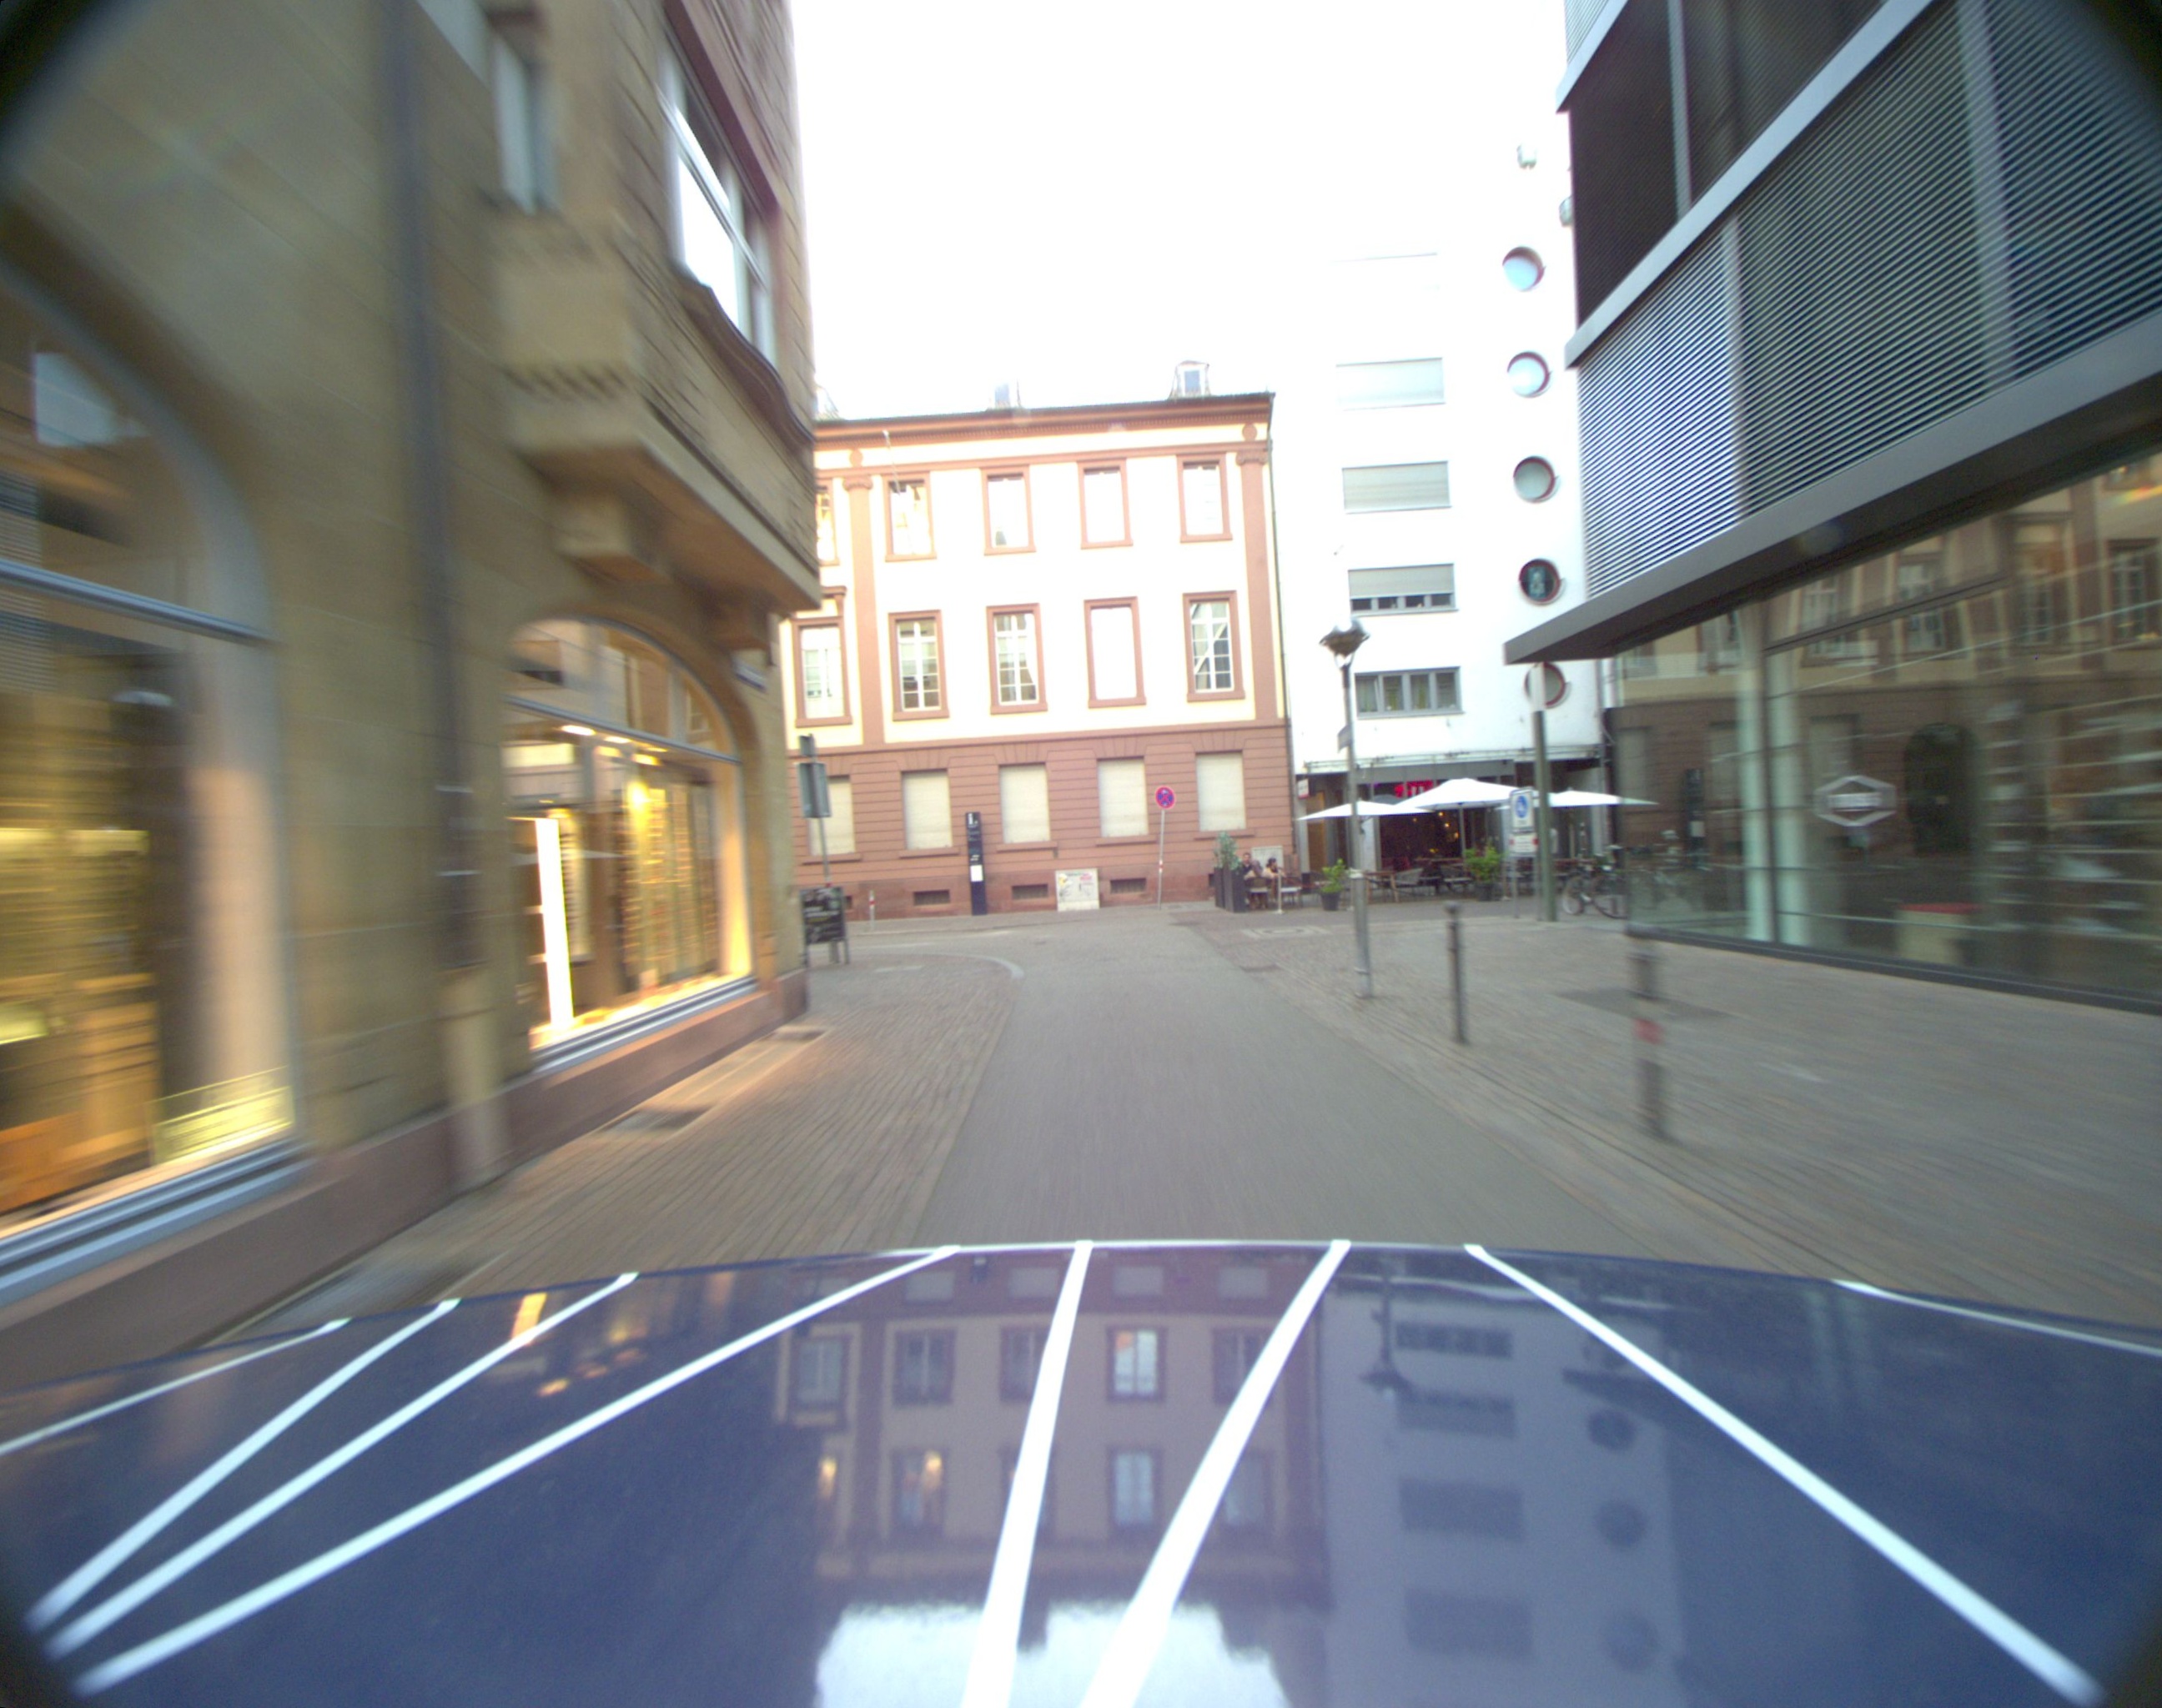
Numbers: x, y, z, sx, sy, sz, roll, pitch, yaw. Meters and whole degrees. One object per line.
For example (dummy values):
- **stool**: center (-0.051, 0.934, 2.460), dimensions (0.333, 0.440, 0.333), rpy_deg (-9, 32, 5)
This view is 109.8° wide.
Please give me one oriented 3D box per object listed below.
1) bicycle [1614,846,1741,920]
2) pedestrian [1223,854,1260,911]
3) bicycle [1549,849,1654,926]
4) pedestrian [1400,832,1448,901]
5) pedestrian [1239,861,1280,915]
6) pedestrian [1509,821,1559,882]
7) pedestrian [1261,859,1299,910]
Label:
- **bicycle**: center (9.950, 0.482, 12.784), dimensions (0.466, 1.114, 2.016), rpy_deg (-4, -2, 0)
- **pedestrian**: center (4.011, 0.699, 19.037), dimensions (0.673, 1.324, 0.792), rpy_deg (-3, 2, -1)
- **bicycle**: center (8.393, 0.536, 12.344), dimensions (0.466, 1.129, 1.703), rpy_deg (-4, -2, 0)
- **pedestrian**: center (8.609, 0.310, 19.087), dimensions (0.725, 1.639, 0.792), rpy_deg (-4, 1, -5)
- **pedestrian**: center (4.172, 0.788, 17.801), dimensions (0.673, 1.177, 0.792), rpy_deg (-3, 2, -5)
- **pedestrian**: center (12.939, -0.067, 21.717), dimensions (0.800, 1.649, 0.858), rpy_deg (-4, 1, -16)
- **pedestrian**: center (4.911, 0.737, 18.786), dimensions (0.673, 1.177, 0.792), rpy_deg (-3, 2, -1)
